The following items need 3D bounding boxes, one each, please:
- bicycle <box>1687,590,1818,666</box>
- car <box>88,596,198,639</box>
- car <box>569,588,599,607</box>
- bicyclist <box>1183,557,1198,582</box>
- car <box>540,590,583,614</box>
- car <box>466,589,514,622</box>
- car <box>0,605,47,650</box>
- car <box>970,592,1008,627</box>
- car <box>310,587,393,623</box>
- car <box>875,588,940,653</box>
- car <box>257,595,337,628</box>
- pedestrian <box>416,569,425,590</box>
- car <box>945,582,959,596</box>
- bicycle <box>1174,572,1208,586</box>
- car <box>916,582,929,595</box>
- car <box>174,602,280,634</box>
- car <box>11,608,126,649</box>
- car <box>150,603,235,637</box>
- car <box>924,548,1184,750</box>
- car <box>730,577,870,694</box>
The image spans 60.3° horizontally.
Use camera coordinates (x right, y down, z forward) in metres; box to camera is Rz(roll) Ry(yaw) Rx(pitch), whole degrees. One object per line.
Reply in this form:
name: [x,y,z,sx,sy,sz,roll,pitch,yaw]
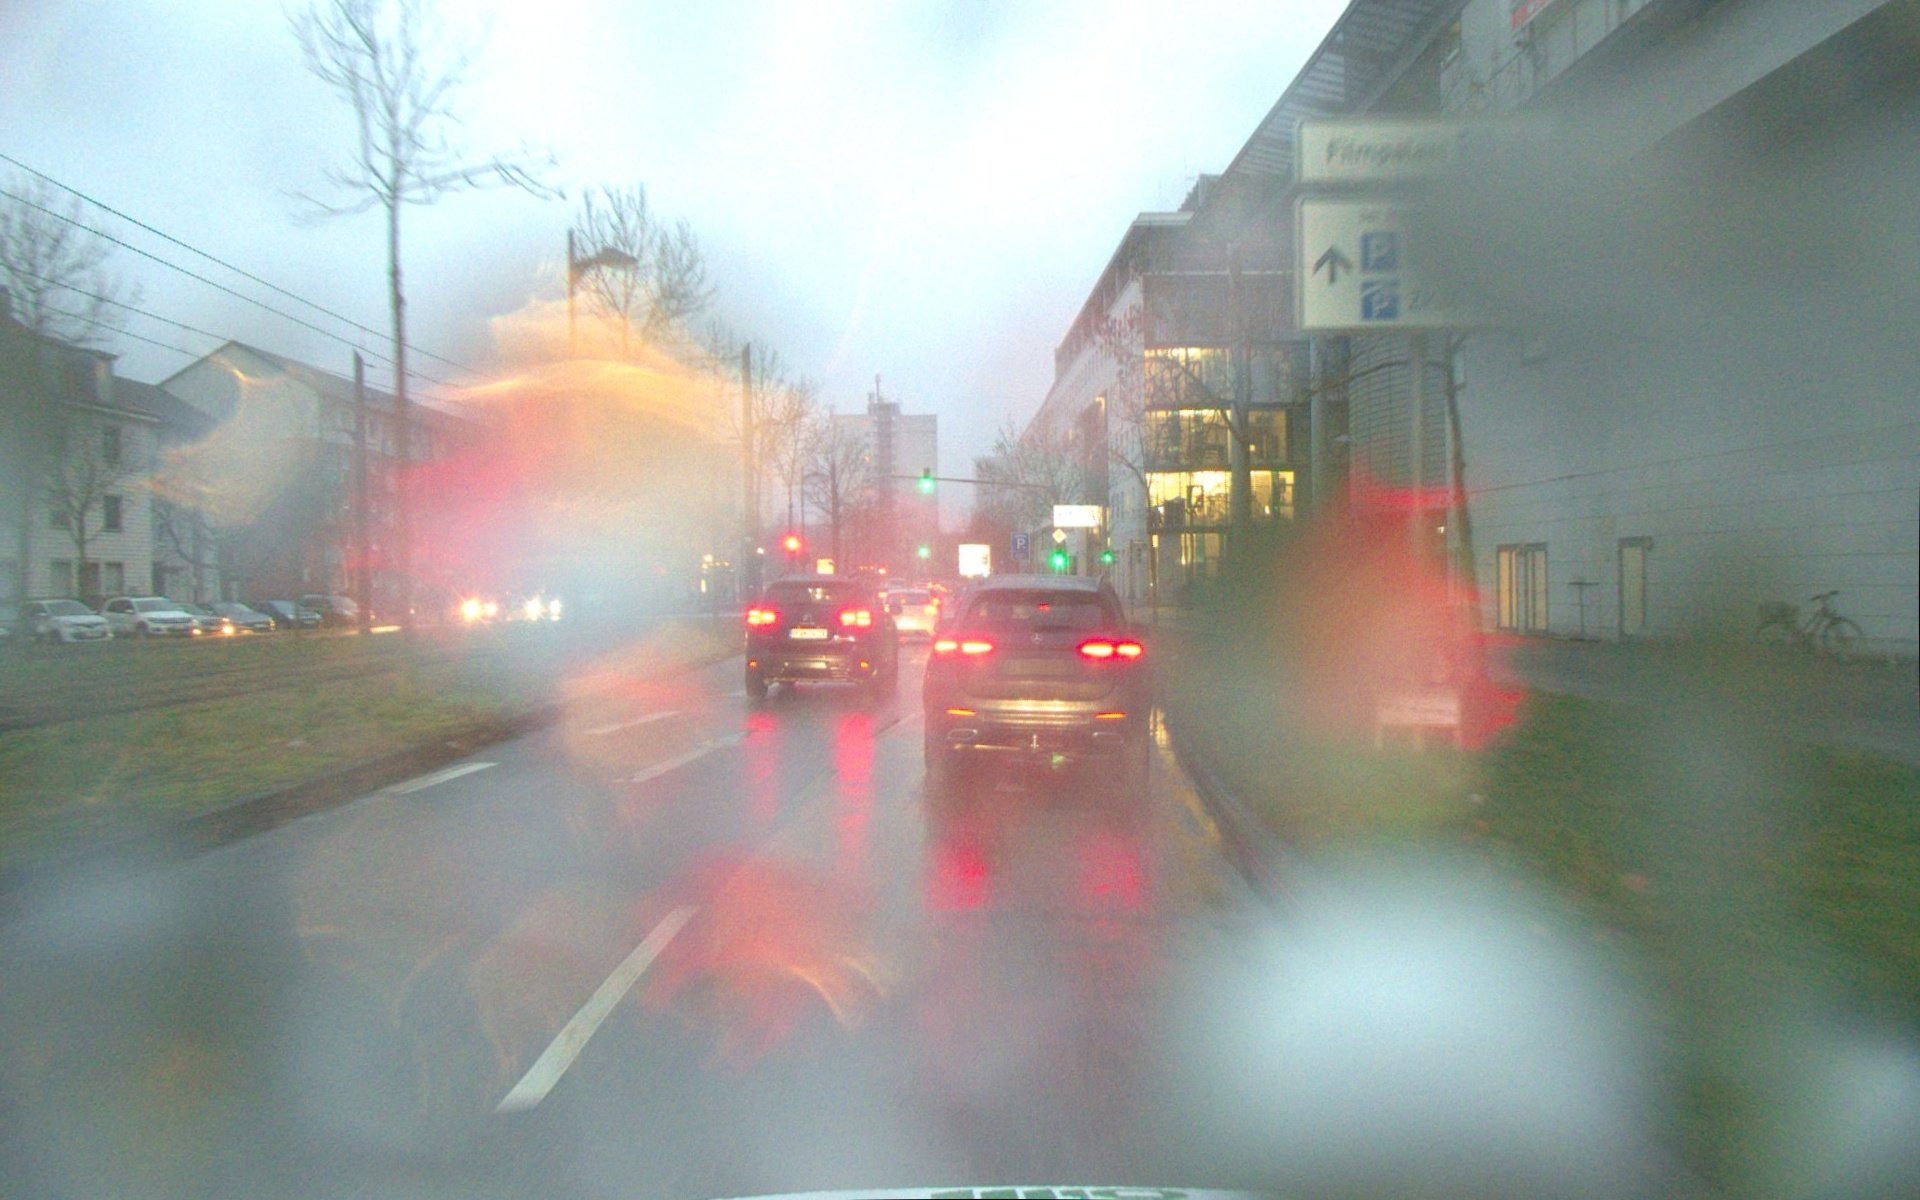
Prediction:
bicycle: [11.797,0.411,24.631,1.773,1.070,0.396,-1,0,-4]
car: [-28.763,0.598,58.208,4.041,1.402,1.766,1,1,36]
car: [-32.285,-0.234,142.106,1.894,1.625,3.724,1,0,-5]
bicyclist: [12.427,-1.639,89.274,0.610,1.353,0.564,1,0,31]
car: [-26.803,0.121,111.350,1.842,1.529,4.788,1,0,-2]
car: [-24.710,0.290,87.062,1.581,1.651,3.508,1,0,-1]
car: [-28.500,0.770,48.155,3.463,1.221,1.879,1,0,30]
car: [1.323,0.402,75.854,1.590,1.524,3.525,1,0,-1]
car: [-28.731,0.215,78.100,3.717,1.583,1.738,1,0,31]
car: [-1.414,0.532,44.924,1.655,1.664,3.473,1,0,-2]
car: [-28.873,0.479,71.983,3.691,1.360,1.449,0,1,35]
pedestrian: [-30.513,-1.169,93.524,0.343,1.205,0.427,1,0,-42]
car: [-0.956,-1.245,191.701,1.516,1.535,3.469,1,0,-1]
bicycle: [12.451,-1.131,89.240,1.697,0.758,0.650,1,0,33]
car: [-4.453,-1.405,196.026,1.516,1.535,3.386,1,0,-1]
car: [-28.579,0.684,64.455,4.097,1.135,1.678,1,0,30]
car: [-27.983,0.866,51.890,3.344,1.167,1.688,1,0,30]
car: [-28.576,0.722,61.587,2.978,1.167,1.395,1,0,30]
car: [0.681,0.369,14.490,1.953,1.509,3.699,1,0,-2]
car: [-2.174,0.441,23.352,1.781,1.476,3.998,1,0,-3]
